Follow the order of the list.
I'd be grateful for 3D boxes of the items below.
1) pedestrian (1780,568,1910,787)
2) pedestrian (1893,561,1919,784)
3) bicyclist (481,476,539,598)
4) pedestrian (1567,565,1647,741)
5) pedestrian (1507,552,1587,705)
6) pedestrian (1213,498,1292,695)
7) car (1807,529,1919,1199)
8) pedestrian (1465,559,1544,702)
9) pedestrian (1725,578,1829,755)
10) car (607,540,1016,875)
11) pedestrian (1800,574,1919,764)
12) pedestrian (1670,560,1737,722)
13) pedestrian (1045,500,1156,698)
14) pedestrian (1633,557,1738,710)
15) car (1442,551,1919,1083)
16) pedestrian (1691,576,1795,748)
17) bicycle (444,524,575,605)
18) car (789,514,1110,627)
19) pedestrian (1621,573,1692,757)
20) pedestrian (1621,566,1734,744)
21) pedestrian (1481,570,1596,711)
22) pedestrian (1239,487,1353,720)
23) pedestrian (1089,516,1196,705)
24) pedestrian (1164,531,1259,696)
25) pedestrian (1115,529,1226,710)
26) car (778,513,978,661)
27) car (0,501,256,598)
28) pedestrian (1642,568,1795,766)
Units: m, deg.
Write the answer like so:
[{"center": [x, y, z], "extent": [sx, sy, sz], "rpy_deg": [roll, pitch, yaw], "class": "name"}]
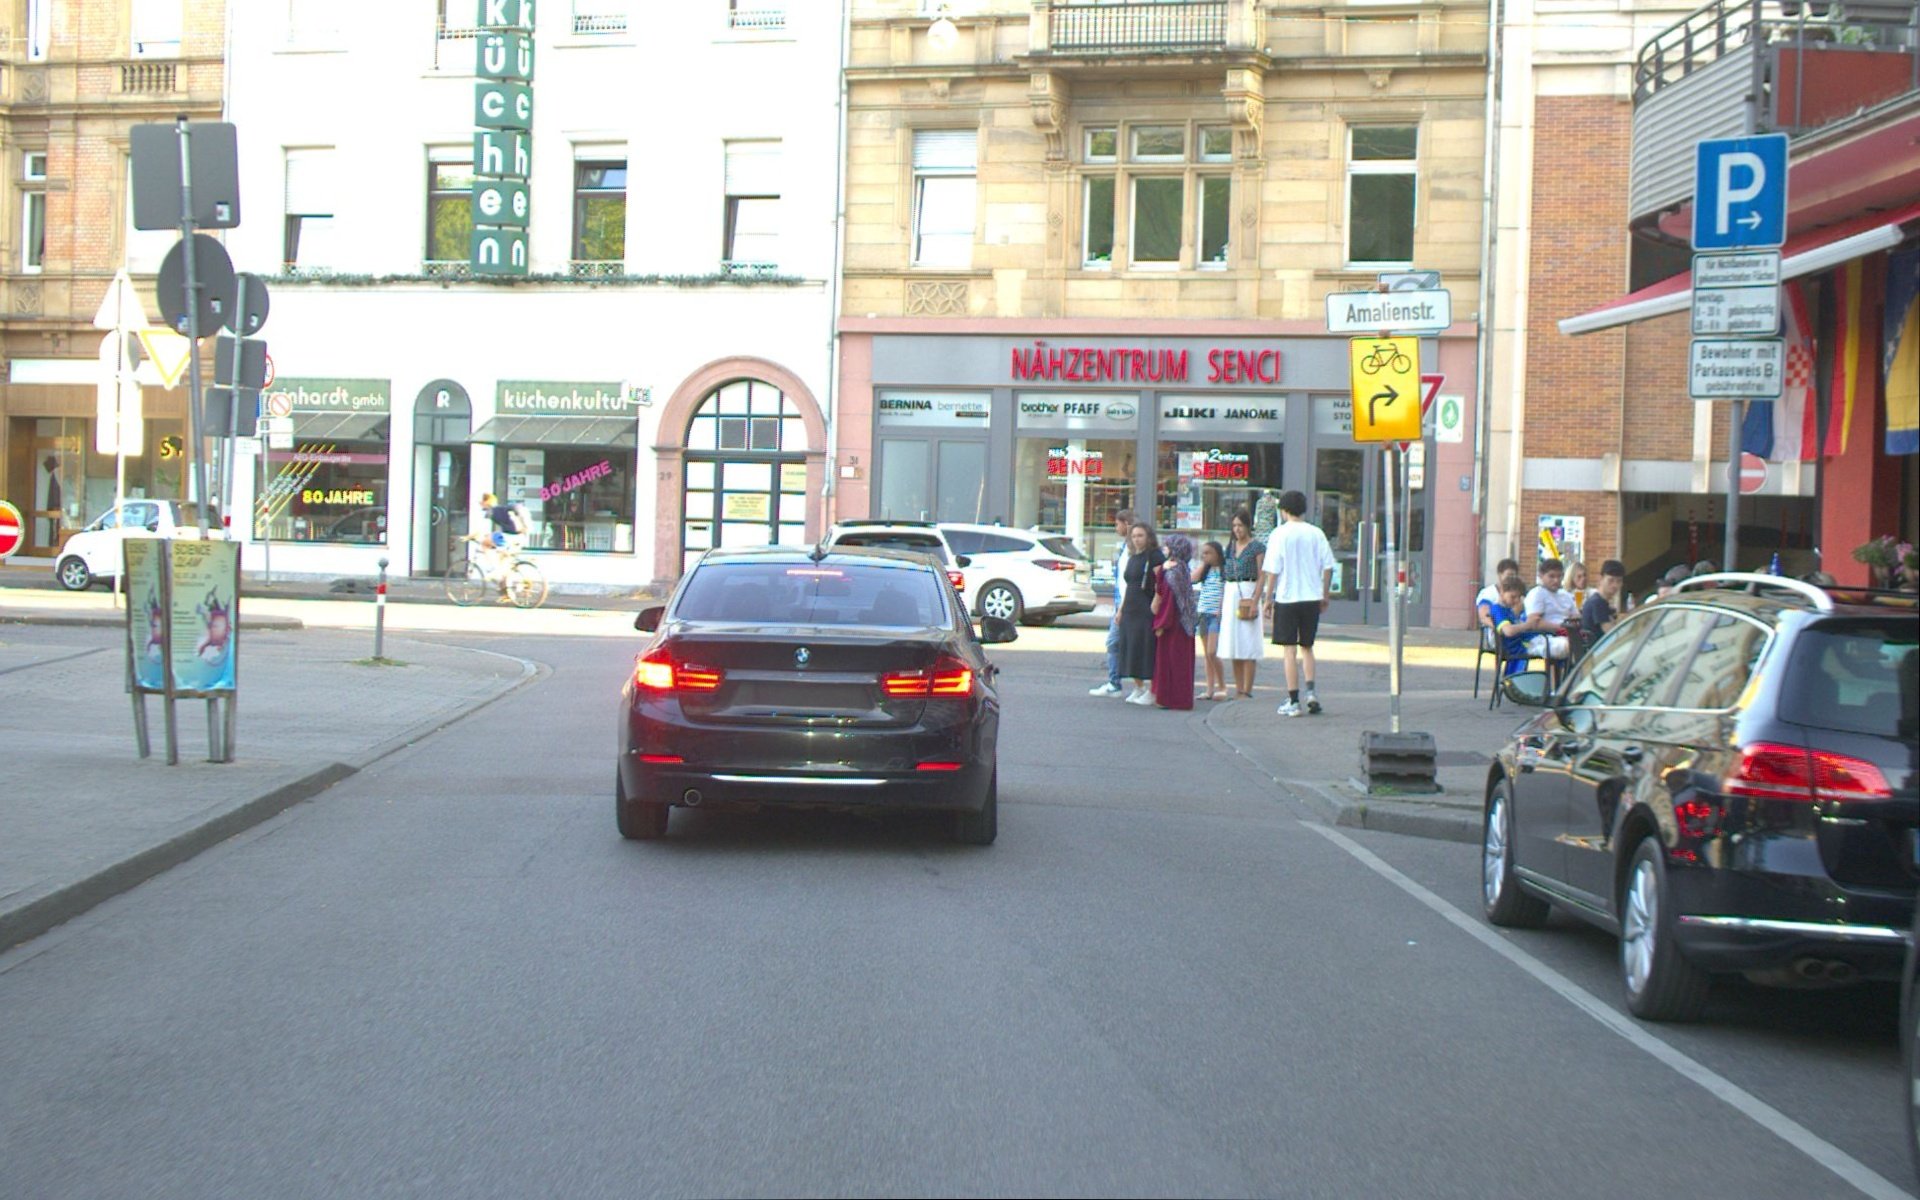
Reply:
[{"center": [5.302, 0.455, 20.618], "extent": [0.687, 1.282, 0.608], "rpy_deg": [0, 1, 8], "class": "pedestrian"}, {"center": [6.109, 0.436, 20.982], "extent": [0.606, 1.343, 0.696], "rpy_deg": [0, 1, -3], "class": "pedestrian"}, {"center": [-6.525, -0.914, 49.866], "extent": [0.618, 1.750, 0.525], "rpy_deg": [2, 1, 18], "class": "bicyclist"}, {"center": [4.891, 0.395, 26.013], "extent": [0.491, 1.298, 0.418], "rpy_deg": [-1, 1, -1], "class": "pedestrian"}, {"center": [5.052, 0.239, 29.609], "extent": [0.617, 1.279, 0.659], "rpy_deg": [1, 1, 7], "class": "pedestrian"}, {"center": [2.630, -0.040, 30.970], "extent": [0.667, 1.740, 0.606], "rpy_deg": [1, 1, 5], "class": "pedestrian"}, {"center": [3.283, 0.754, 6.874], "extent": [1.765, 1.636, 4.791], "rpy_deg": [4, 2, -2], "class": "car"}, {"center": [4.880, 0.267, 30.819], "extent": [0.617, 1.250, 0.735], "rpy_deg": [1, 1, 4], "class": "pedestrian"}, {"center": [5.660, 0.453, 23.827], "extent": [0.417, 1.197, 0.537], "rpy_deg": [-3, 2, -44], "class": "pedestrian"}, {"center": [-0.707, 0.438, 17.660], "extent": [1.765, 1.370, 4.791], "rpy_deg": [2, 2, -1], "class": "car"}, {"center": [6.114, 0.453, 22.999], "extent": [0.779, 1.219, 0.714], "rpy_deg": [-2, 1, -1], "class": "pedestrian"}, {"center": [5.975, 0.322, 27.643], "extent": [0.490, 1.272, 0.521], "rpy_deg": [1, 1, 12], "class": "pedestrian"}, {"center": [1.278, -0.018, 31.165], "extent": [0.895, 1.719, 0.607], "rpy_deg": [3, 3, 5], "class": "pedestrian"}, {"center": [6.198, 0.275, 29.352], "extent": [0.618, 1.274, 0.699], "rpy_deg": [2, 2, 36], "class": "pedestrian"}, {"center": [3.103, 0.657, 12.764], "extent": [1.765, 1.497, 4.791], "rpy_deg": [4, 2, -1], "class": "car"}, {"center": [5.584, 0.434, 24.523], "extent": [0.417, 1.197, 0.569], "rpy_deg": [-3, 2, -43], "class": "pedestrian"}, {"center": [-6.536, -0.518, 49.860], "extent": [1.796, 1.104, 0.537], "rpy_deg": [3, 1, 18], "class": "bicycle"}, {"center": [-0.151, -0.443, 50.913], "extent": [4.356, 1.557, 1.866], "rpy_deg": [1, 1, 21], "class": "car"}, {"center": [4.820, 0.444, 23.796], "extent": [0.344, 1.252, 0.359], "rpy_deg": [-1, 1, 34], "class": "pedestrian"}, {"center": [5.285, 0.399, 25.315], "extent": [0.626, 1.272, 0.511], "rpy_deg": [-2, 2, -39], "class": "pedestrian"}, {"center": [4.854, 0.334, 28.863], "extent": [0.890, 1.146, 0.619], "rpy_deg": [1, 1, 6], "class": "pedestrian"}, {"center": [2.762, 0.020, 28.302], "extent": [0.676, 1.871, 0.701], "rpy_deg": [2, 1, -12], "class": "pedestrian"}, {"center": [1.600, 0.086, 30.243], "extent": [0.724, 1.603, 0.650], "rpy_deg": [3, 1, -10], "class": "pedestrian"}, {"center": [2.295, 0.117, 31.416], "extent": [0.815, 1.469, 0.606], "rpy_deg": [1, 1, 3], "class": "pedestrian"}, {"center": [1.810, 0.162, 29.613], "extent": [0.735, 1.508, 0.650], "rpy_deg": [3, 1, -10], "class": "pedestrian"}, {"center": [-0.826, -0.182, 36.911], "extent": [1.877, 1.468, 4.000], "rpy_deg": [1, 2, 2], "class": "car"}, {"center": [-13.789, -0.836, 56.516], "extent": [3.991, 1.505, 1.798], "rpy_deg": [1, 1, 21], "class": "car"}, {"center": [4.959, 0.432, 22.492], "extent": [0.859, 1.252, 0.491], "rpy_deg": [-2, 1, -1], "class": "pedestrian"}]
